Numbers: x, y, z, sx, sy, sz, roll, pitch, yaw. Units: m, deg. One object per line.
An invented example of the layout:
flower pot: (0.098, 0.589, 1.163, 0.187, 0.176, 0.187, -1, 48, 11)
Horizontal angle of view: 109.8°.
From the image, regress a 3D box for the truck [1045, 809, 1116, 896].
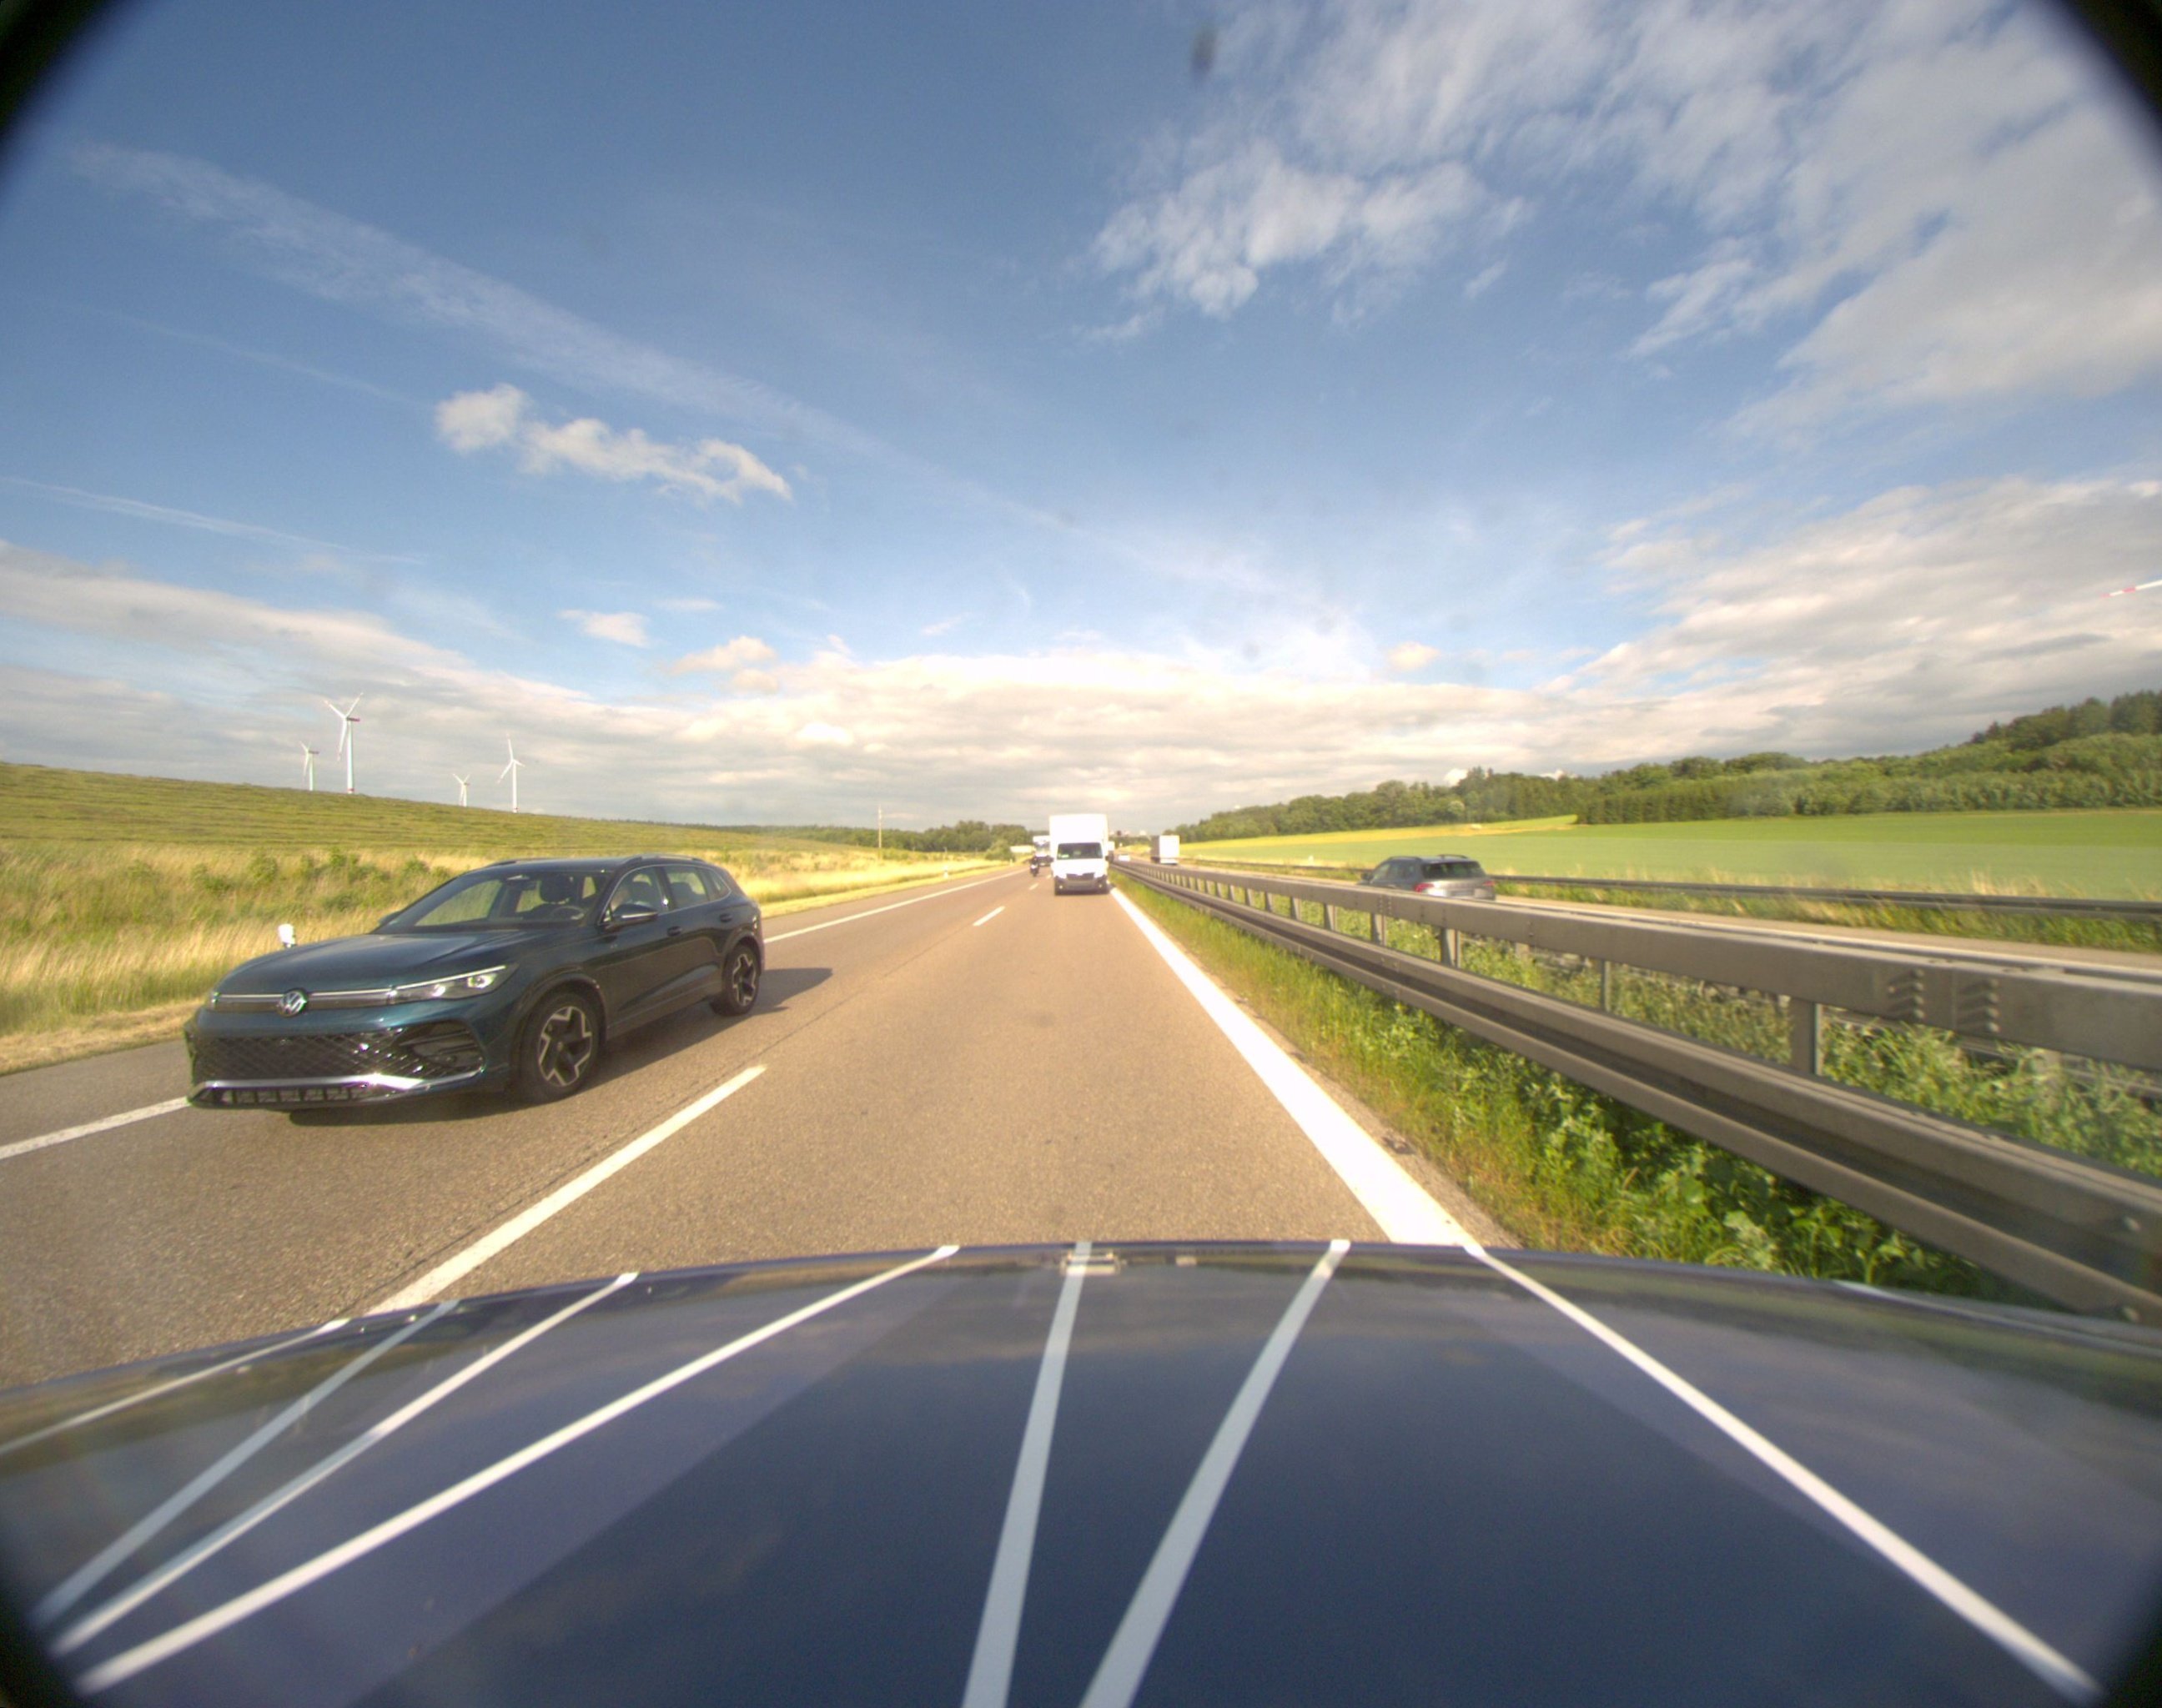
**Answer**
truck: (-0.063, -0.040, 33.700, 2.502, 3.141, 11.162, -2, 0, 0)

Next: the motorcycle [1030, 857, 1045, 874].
motorcycle: (-3.216, 0.857, 56.591, 0.898, 1.183, 2.256, -2, 1, 0)

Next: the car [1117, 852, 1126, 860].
car: (8.248, 0.388, 155.392, 1.708, 1.537, 3.999, -2, 1, 0)

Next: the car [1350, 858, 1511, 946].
car: (7.527, 0.944, 16.807, 1.619, 1.576, 4.064, -2, 1, -1)

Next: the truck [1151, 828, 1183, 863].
truck: (12.044, -1.205, 107.065, 2.887, 4.608, 13.421, -2, 1, 0)

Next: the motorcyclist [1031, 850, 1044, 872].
motorcyclist: (-3.230, 0.504, 56.628, 0.852, 1.551, 0.934, -2, 1, 0)

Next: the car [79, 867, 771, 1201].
car: (-4.325, 0.992, 6.136, 1.825, 1.592, 4.234, -2, 1, 0)

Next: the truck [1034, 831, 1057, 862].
truck: (-4.749, -0.984, 102.579, 2.607, 4.017, 6.119, -2, 1, 1)

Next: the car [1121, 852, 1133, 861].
car: (7.957, 0.451, 131.445, 1.708, 1.482, 3.999, -2, 1, 0)
